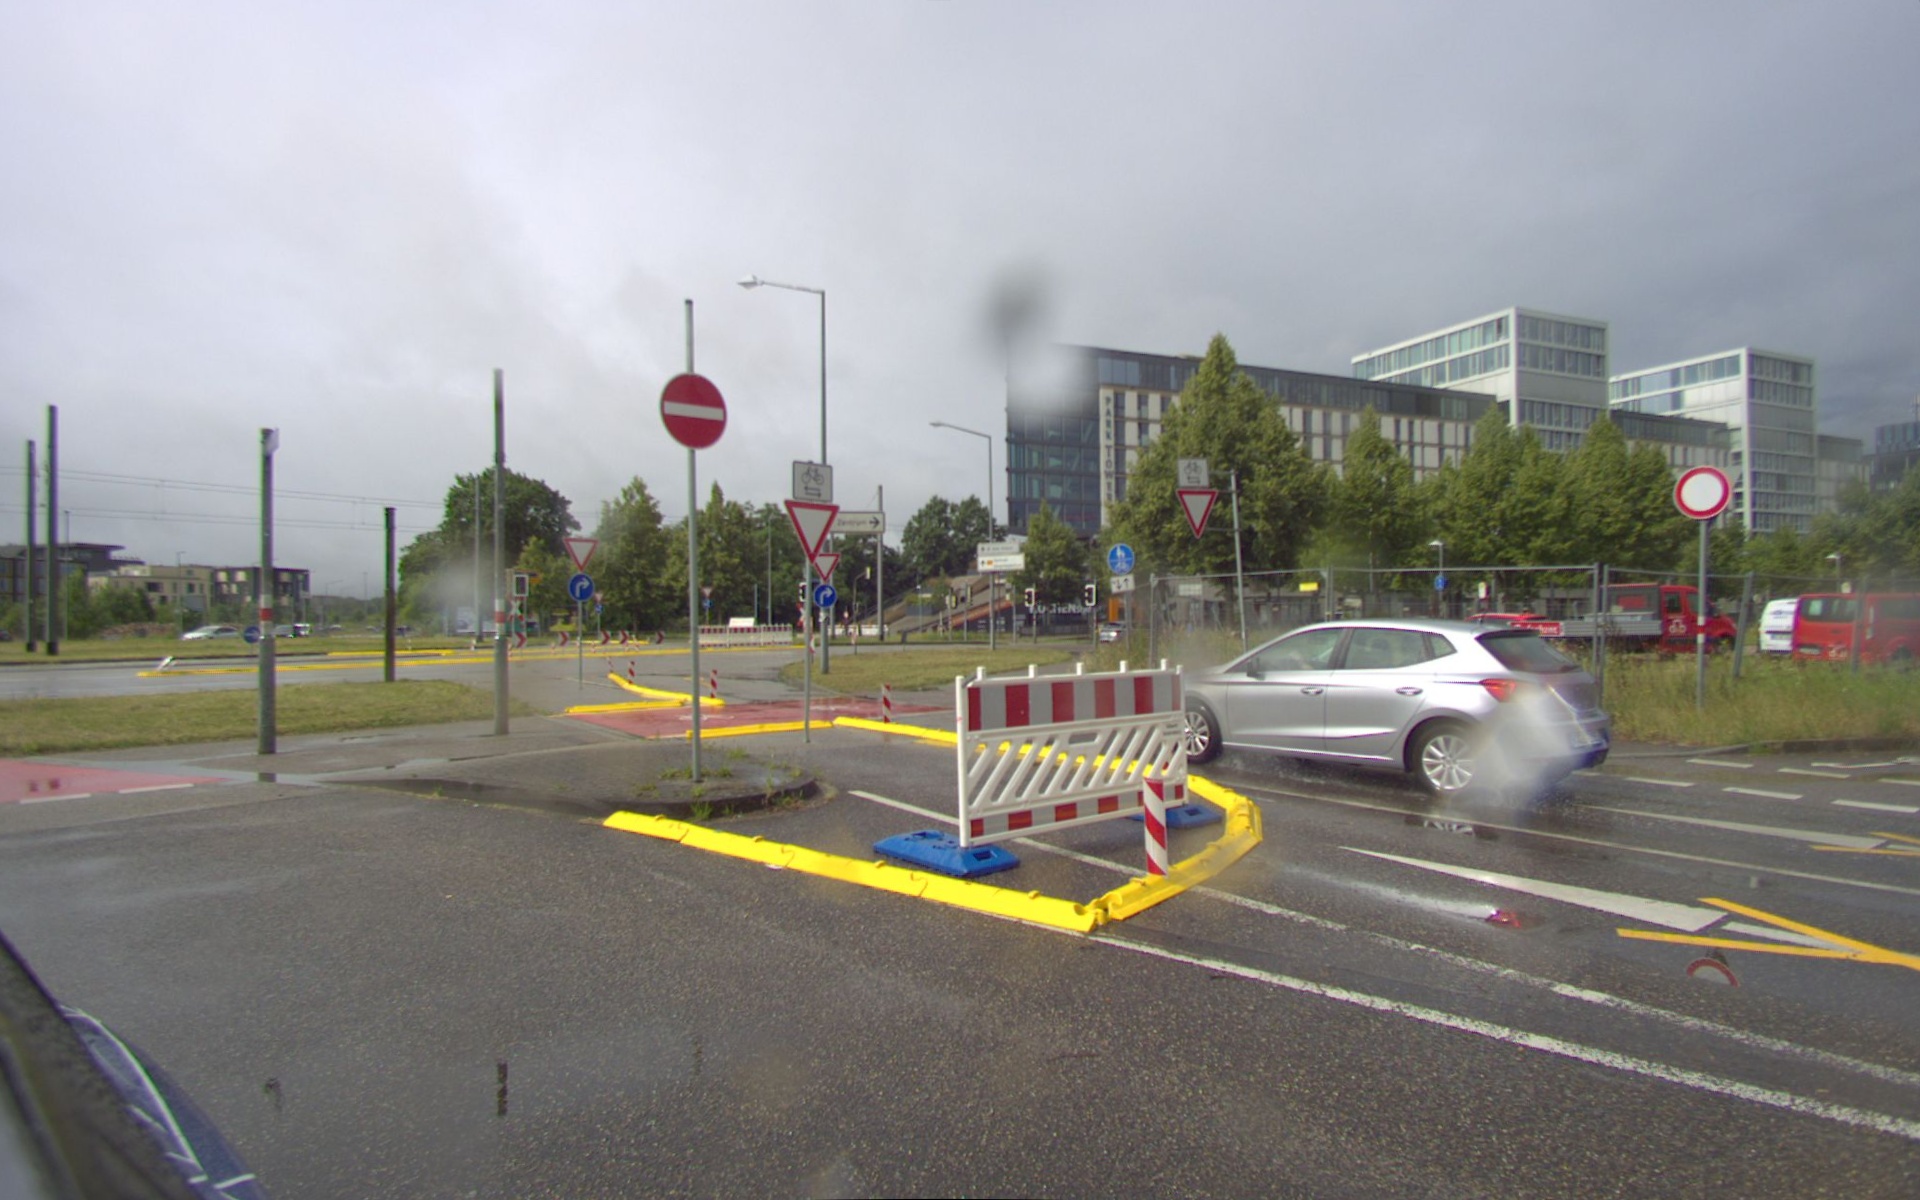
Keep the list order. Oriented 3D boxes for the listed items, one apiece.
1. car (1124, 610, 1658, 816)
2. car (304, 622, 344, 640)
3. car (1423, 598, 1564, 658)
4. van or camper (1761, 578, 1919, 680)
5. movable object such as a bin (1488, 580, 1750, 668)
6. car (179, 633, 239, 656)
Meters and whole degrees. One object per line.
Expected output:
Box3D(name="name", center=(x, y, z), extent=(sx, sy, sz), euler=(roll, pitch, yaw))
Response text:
Box3D(name="car", center=(3.648, 0.842, 9.281), extent=(1.715, 1.425, 4.188), euler=(0, -1, -37))
Box3D(name="car", center=(-56.993, 2.799, 90.723), extent=(1.644, 1.541, 3.484), euler=(-1, -1, -5))
Box3D(name="car", center=(19.037, 0.990, 36.291), extent=(1.965, 2.029, 4.013), euler=(0, -1, -27))
Box3D(name="van or camper", center=(22.680, 0.622, 23.850), extent=(6.293, 2.205, 2.446), euler=(-1, -1, -12))
Box3D(name="movable object such as a bin", center=(19.586, 0.678, 30.188), extent=(6.504, 2.405, 2.683), euler=(-1, -1, -13))
Box3D(name="car", center=(-55.573, 3.262, 74.986), extent=(1.644, 1.541, 4.122), euler=(-1, -1, -5))
